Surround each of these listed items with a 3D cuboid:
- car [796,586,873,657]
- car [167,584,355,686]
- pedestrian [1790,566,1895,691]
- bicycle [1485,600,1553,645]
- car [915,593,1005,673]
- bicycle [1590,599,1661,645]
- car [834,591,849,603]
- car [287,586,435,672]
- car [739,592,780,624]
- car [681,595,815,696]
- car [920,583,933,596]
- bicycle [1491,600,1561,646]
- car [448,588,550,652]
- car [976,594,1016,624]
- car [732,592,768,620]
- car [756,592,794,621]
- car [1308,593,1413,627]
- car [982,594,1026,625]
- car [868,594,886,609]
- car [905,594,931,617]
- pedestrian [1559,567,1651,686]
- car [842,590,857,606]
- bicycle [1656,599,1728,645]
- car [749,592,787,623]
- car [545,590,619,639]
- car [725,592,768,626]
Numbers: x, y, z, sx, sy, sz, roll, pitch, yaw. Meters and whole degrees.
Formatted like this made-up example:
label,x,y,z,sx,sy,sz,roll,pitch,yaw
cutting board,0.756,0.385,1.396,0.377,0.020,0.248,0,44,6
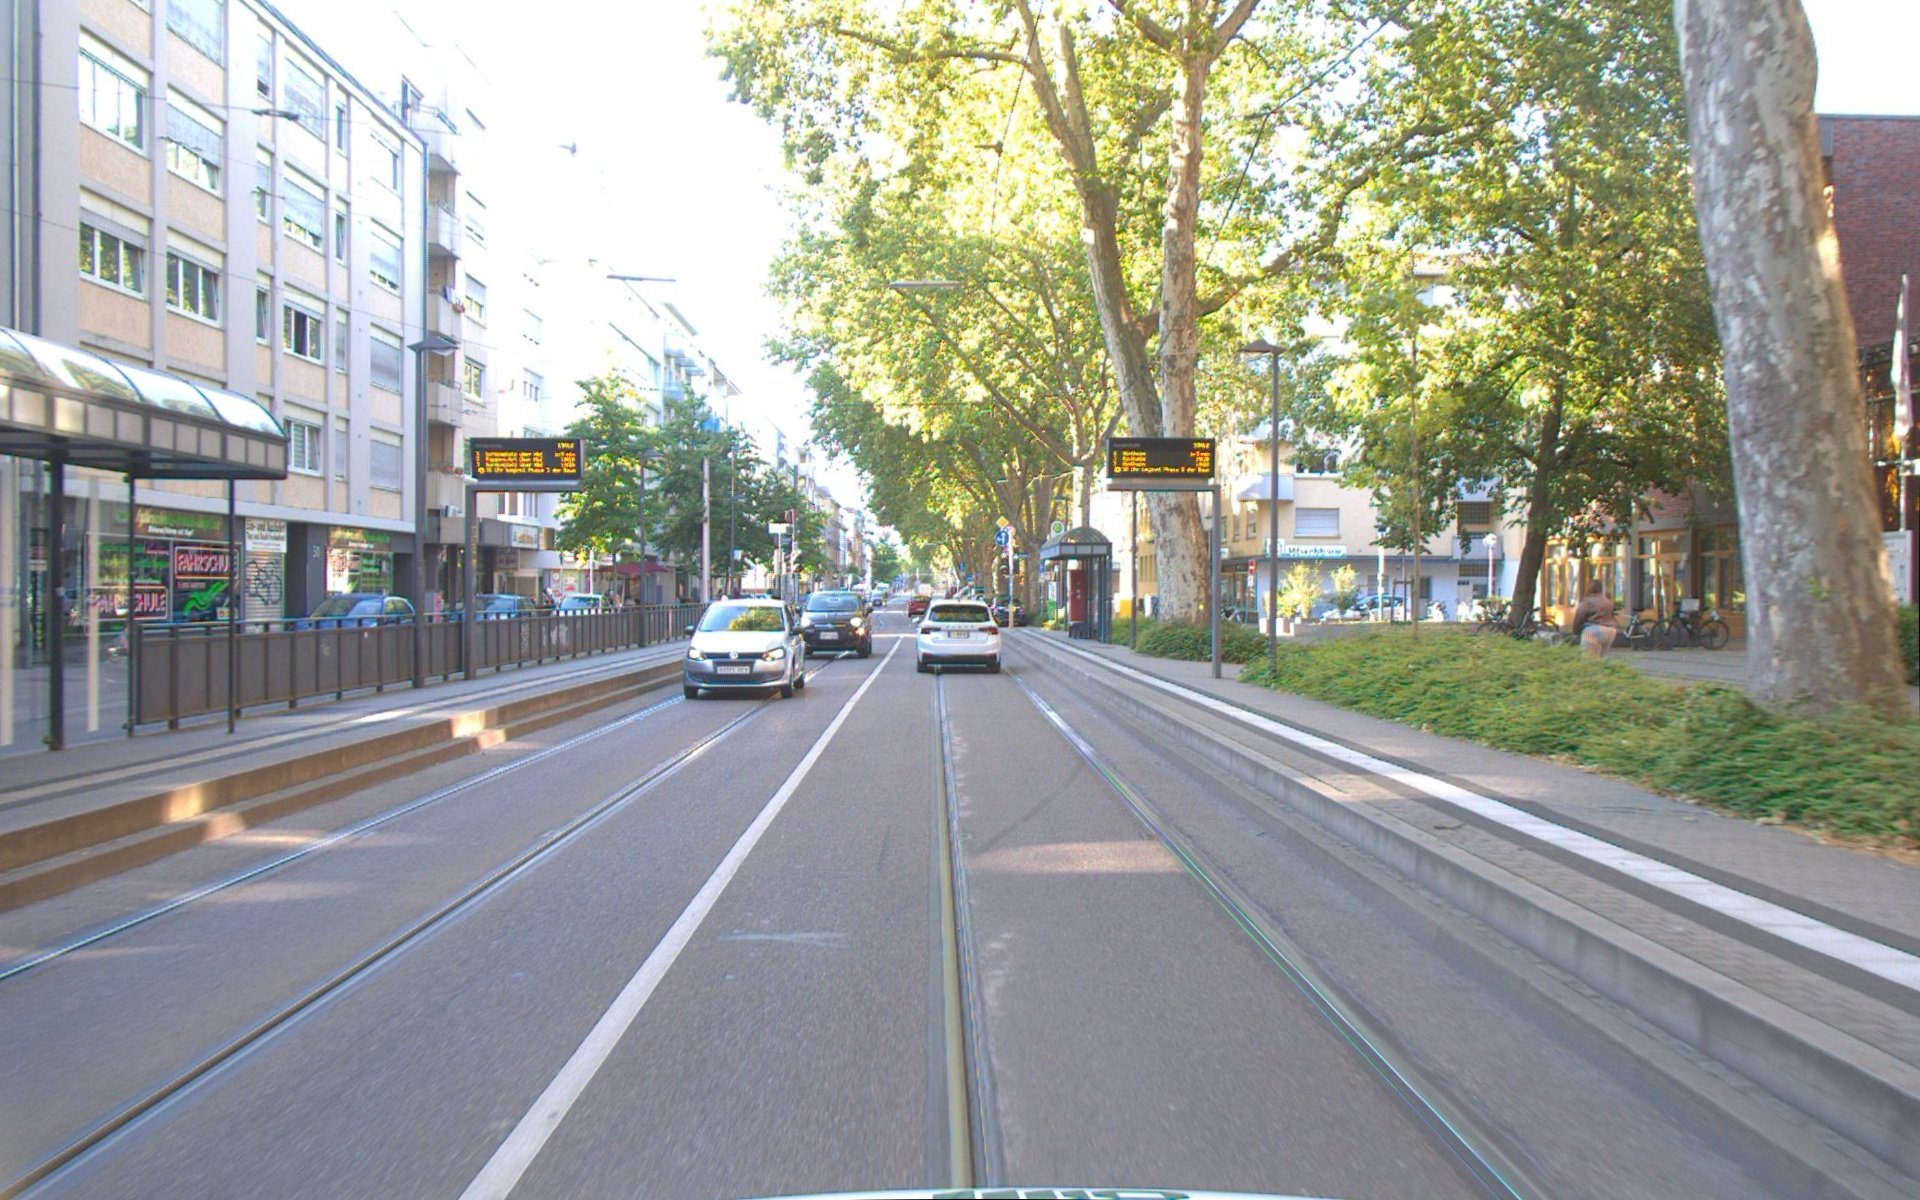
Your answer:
label,x,y,z,sx,sy,sz,roll,pitch,yaw
car,-3.053,0.495,40.921,1.659,1.673,3.999,0,0,-1
car,-12.011,0.552,28.691,1.561,1.575,3.999,2,0,-1
pedestrian,11.926,0.379,22.380,0.952,1.652,0.887,0,0,-1
bicycle,13.349,0.537,39.480,1.533,1.055,0.504,0,0,20
car,-0.031,0.631,34.079,1.752,1.540,3.999,0,0,-1
bicycle,15.561,0.499,38.694,1.533,1.055,0.479,0,0,20
car,-15.637,-0.425,218.705,1.752,1.540,3.999,0,0,-1
car,-12.057,0.539,33.531,1.561,1.575,3.999,2,0,-1
car,-10.489,0.398,86.716,1.644,1.575,3.999,2,0,-1
car,-3.242,0.648,25.922,1.659,1.444,3.999,0,0,-1
car,-4.965,-1.508,243.755,1.828,1.925,3.999,0,0,-1
bicycle,13.201,0.539,38.562,1.533,1.055,0.479,0,0,20
car,-12.389,0.509,44.658,1.644,1.575,3.999,2,0,-1
car,1.862,0.446,86.391,1.953,1.478,3.999,0,0,-1
car,-12.501,0.357,98.620,1.644,1.575,3.999,2,0,-1
car,-10.639,0.377,95.081,1.758,1.536,3.999,2,0,-1
car,16.403,0.401,67.878,3.905,1.396,1.867,0,0,1
car,2.132,0.461,81.310,1.953,1.478,3.999,0,0,-1
car,-8.690,0.176,172.769,1.752,1.540,3.999,0,0,-1
car,-2.852,0.344,112.612,1.752,1.540,3.999,0,0,-1
pedestrian,9.125,0.364,23.435,0.952,1.652,0.887,0,0,-1
car,-15.701,-0.293,235.295,1.951,2.110,3.999,0,0,-1
bicycle,17.135,0.504,38.746,1.534,1.055,0.479,0,0,22
car,-10.544,0.386,90.909,1.644,1.575,3.999,2,0,-1
car,-12.928,0.474,56.810,1.644,1.575,3.999,2,0,-1
car,-10.598,0.411,82.395,1.644,1.575,3.999,2,0,-1
